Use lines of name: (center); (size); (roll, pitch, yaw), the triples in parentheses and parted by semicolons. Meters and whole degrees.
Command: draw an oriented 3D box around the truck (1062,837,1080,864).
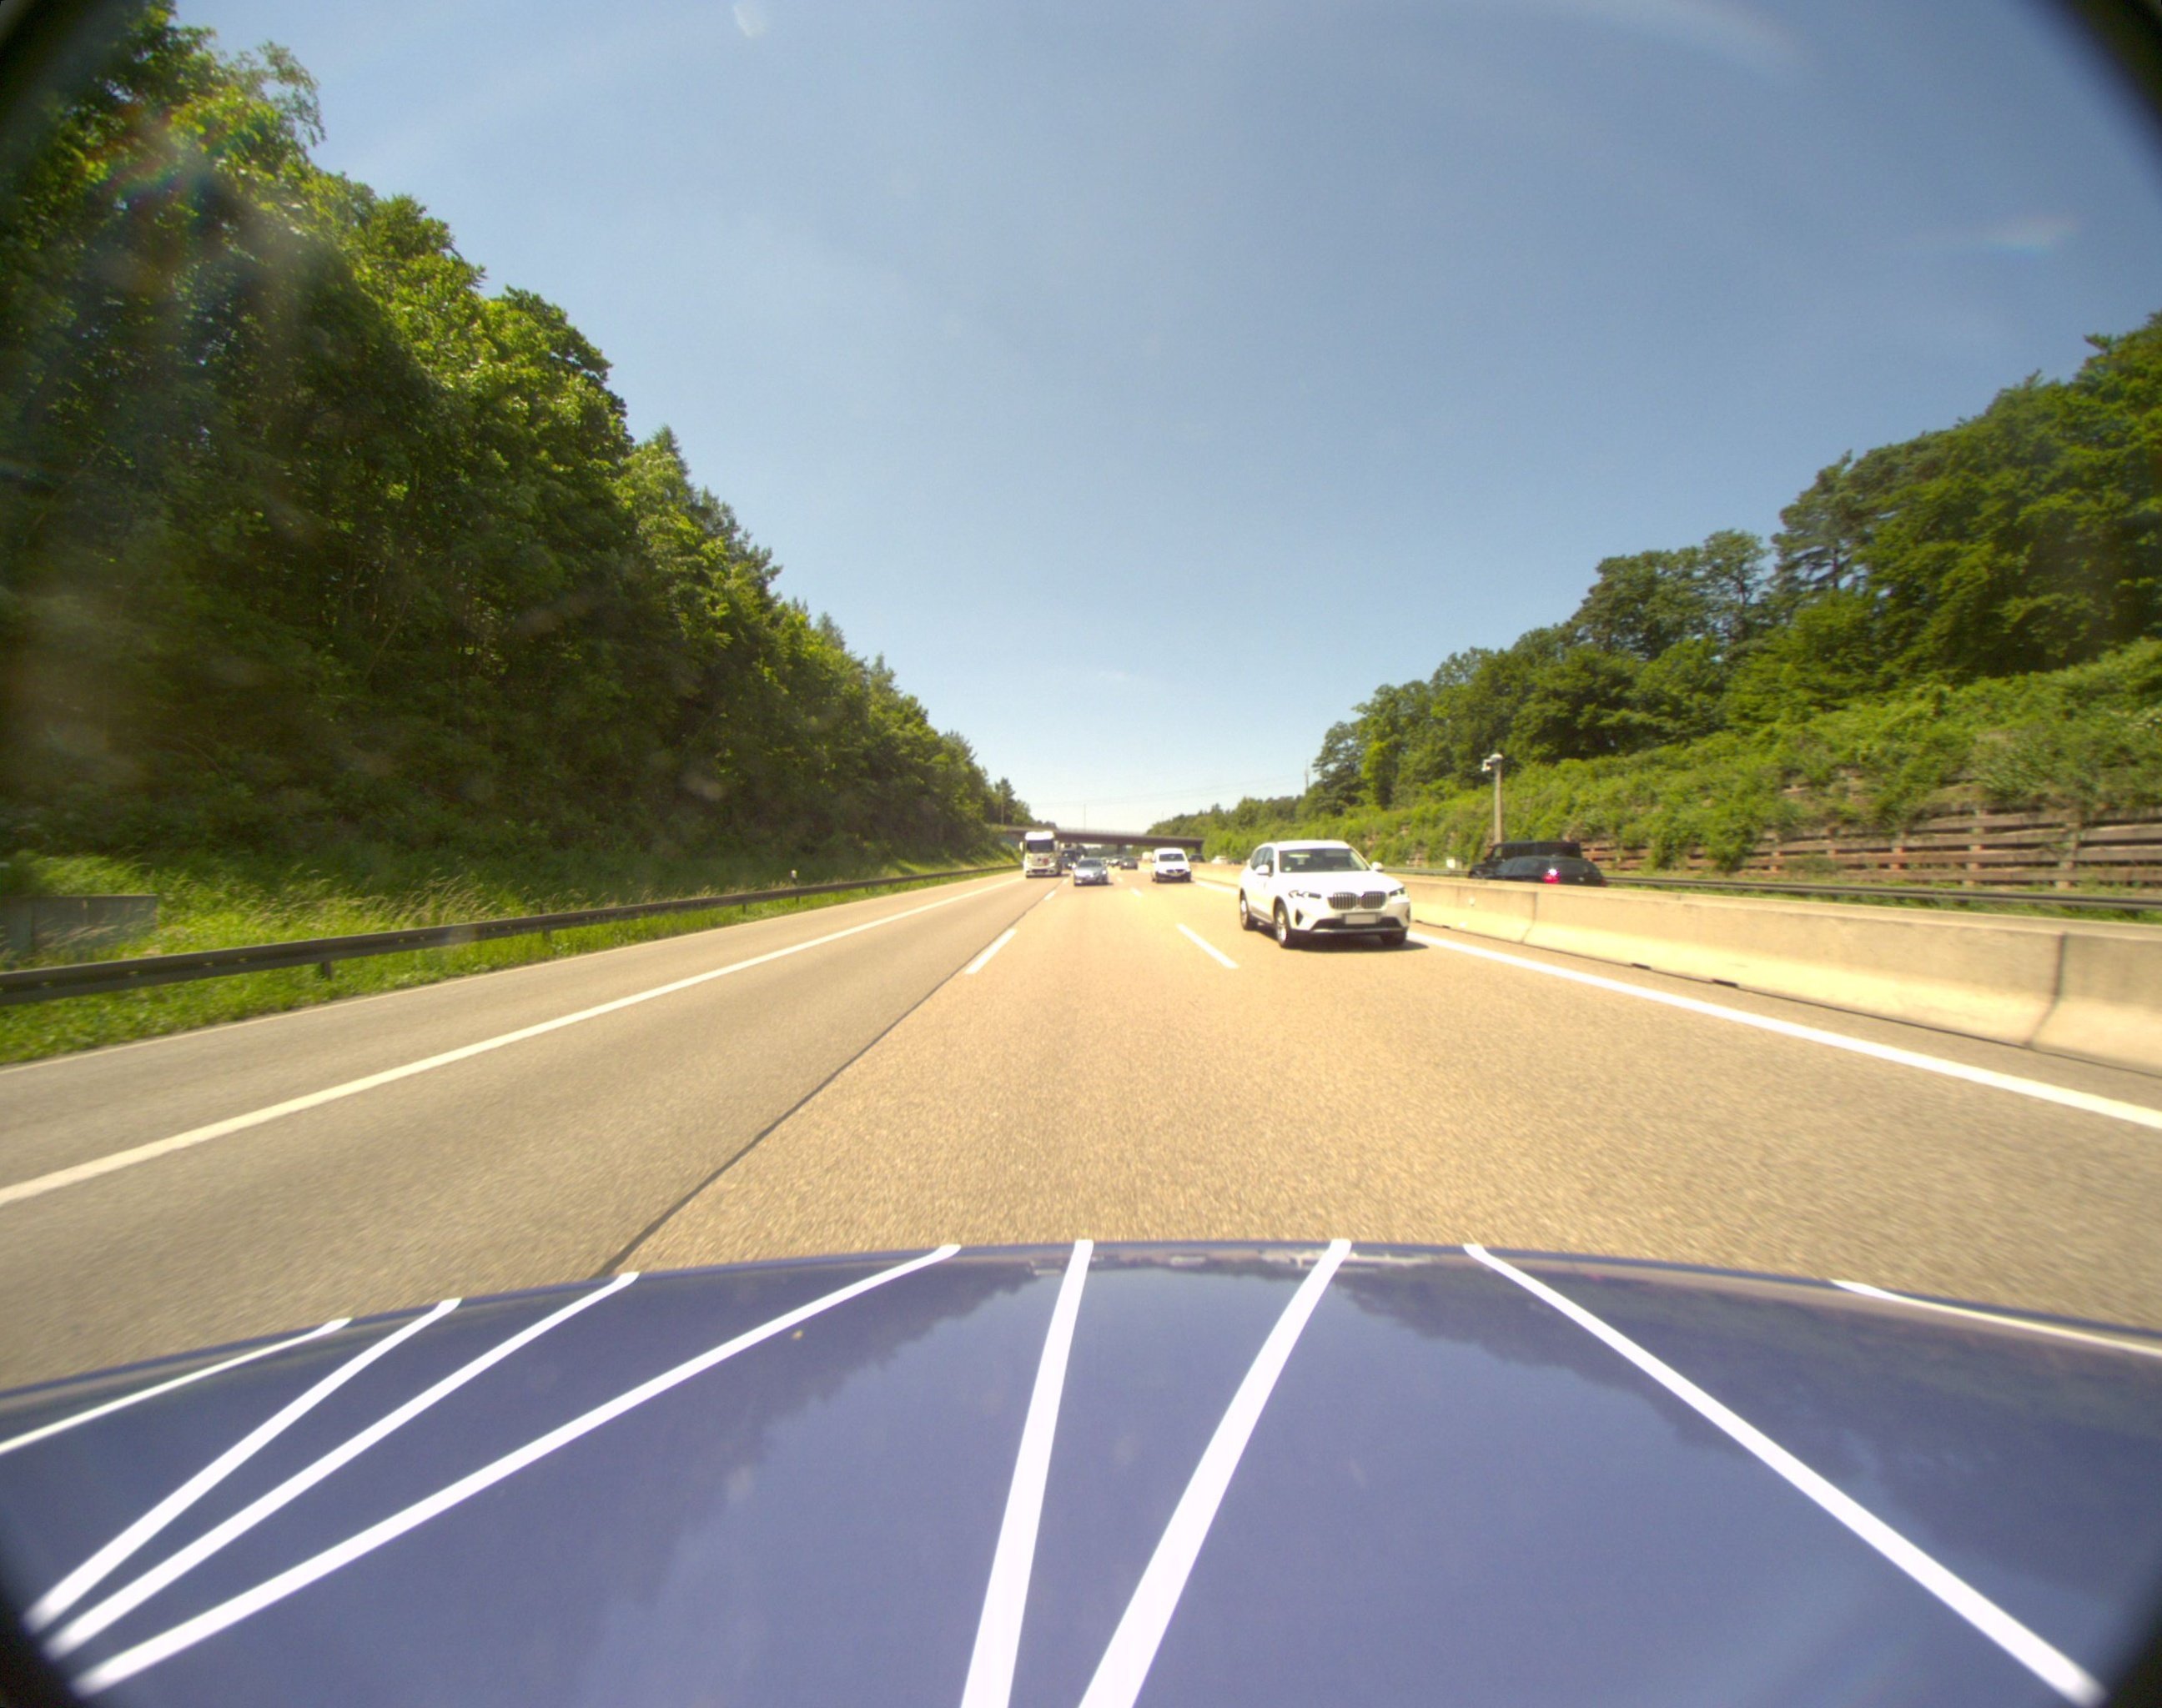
truck: (-1.686, -0.691, 132.437); (2.627, 4.365, 13.086); (-3, 1, 1)

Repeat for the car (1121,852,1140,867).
car: (5.256, 0.563, 81.358); (1.770, 1.504, 4.725); (-3, 1, 1)

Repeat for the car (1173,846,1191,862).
car: (17.305, -0.054, 130.239); (2.245, 2.667, 7.137); (0, 0, 1)

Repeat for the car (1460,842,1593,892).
car: (15.283, 0.401, 26.418); (1.944, 1.595, 4.656); (0, 0, 0)

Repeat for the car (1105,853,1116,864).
car: (5.228, 0.820, 134.879); (1.924, 1.849, 4.000); (-3, 1, 2)

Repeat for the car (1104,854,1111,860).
car: (7.467, 0.849, 217.392); (1.944, 1.616, 4.281); (0, 0, 0)

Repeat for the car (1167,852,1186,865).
car: (12.786, 0.564, 101.801); (1.944, 1.595, 5.226); (0, 0, 1)

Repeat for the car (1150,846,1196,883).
car: (4.883, 0.504, 40.803); (1.998, 1.764, 4.501); (-3, 1, 2)

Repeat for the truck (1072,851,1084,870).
truck: (-0.686, 1.465, 186.635); (2.627, 4.365, 13.086); (-3, 1, 1)

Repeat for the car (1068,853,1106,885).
car: (0.377, 0.771, 40.718); (1.843, 1.518, 4.501); (-3, 1, 2)

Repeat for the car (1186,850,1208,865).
car: (12.653, 0.386, 83.126); (1.757, 1.628, 4.303); (0, 0, 0)

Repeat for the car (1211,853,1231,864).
car: (19.990, 0.630, 108.593); (1.944, 1.595, 4.860); (0, 0, 0)

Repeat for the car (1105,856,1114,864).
car: (5.888, 1.158, 156.812); (1.770, 1.504, 4.000); (-3, 1, 1)

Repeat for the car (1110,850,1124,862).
car: (4.833, 0.222, 102.433); (1.770, 1.504, 4.000); (-3, 1, 1)

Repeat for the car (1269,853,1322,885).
car: (11.466, 0.776, 40.926); (1.750, 1.595, 4.058); (0, 0, 0)

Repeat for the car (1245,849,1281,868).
car: (16.452, 0.392, 68.979); (1.887, 1.628, 5.649); (0, 0, 1)

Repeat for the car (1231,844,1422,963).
car: (3.924, 0.699, 12.987); (1.850, 1.634, 4.368); (-2, 0, 1)

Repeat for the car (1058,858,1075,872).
car: (-1.689, 1.312, 90.689); (1.770, 1.504, 4.000); (-3, 1, 1)

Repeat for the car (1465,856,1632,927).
car: (11.707, 0.858, 19.389); (1.766, 1.595, 4.081); (0, 0, 0)

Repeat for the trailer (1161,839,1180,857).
trailer: (21.795, -1.377, 185.298); (2.942, 4.162, 14.183); (-2, 1, 1)

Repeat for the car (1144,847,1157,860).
car: (14.374, -0.057, 158.102); (2.245, 2.667, 5.341); (0, 0, 0)

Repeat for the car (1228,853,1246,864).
car: (24.004, 0.696, 117.185); (1.944, 1.595, 4.464); (0, 0, 0)

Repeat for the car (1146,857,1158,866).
car: (12.468, 1.267, 133.309); (1.736, 1.595, 4.281); (0, 0, 0)

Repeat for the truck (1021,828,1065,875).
truck: (-3.041, -0.238, 64.640); (2.844, 3.518, 13.086); (-3, 0, 1)
